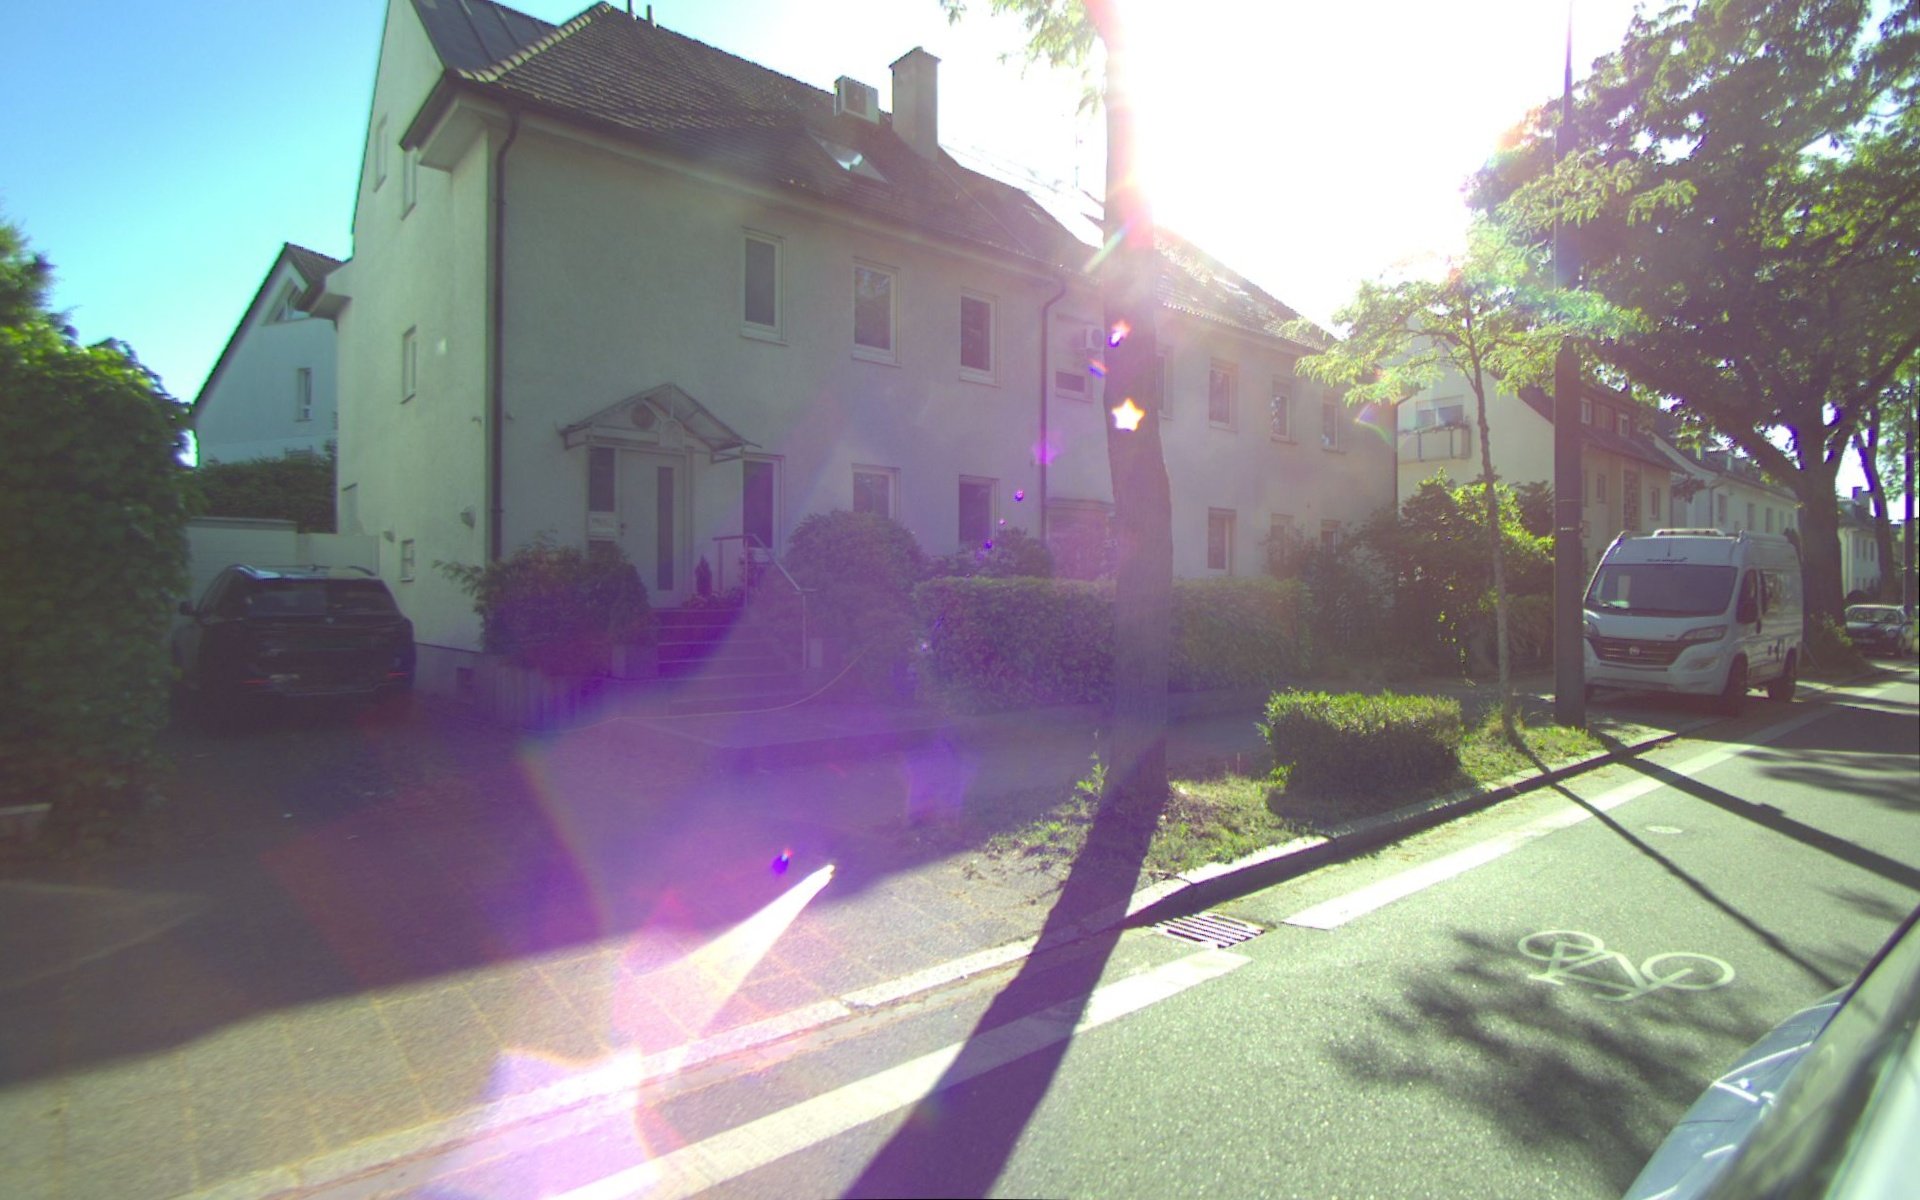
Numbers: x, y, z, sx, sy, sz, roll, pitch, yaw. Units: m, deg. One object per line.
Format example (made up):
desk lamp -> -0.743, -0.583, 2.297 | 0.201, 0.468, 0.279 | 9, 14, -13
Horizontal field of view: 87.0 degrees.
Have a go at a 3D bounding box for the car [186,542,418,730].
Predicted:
car -> -7.503, 0.284, 11.366 | 1.716, 1.726, 3.995 | 0, 1, -40

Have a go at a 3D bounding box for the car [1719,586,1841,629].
car -> 34.014, 0.283, 42.033 | 3.741, 1.507, 1.712 | 5, 3, 44

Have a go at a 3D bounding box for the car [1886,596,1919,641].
car -> 34.303, 0.674, 35.871 | 4.228, 1.466, 1.787 | 0, 3, -43

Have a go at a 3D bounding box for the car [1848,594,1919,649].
car -> 27.109, 0.589, 29.285 | 3.582, 1.415, 1.630 | 0, 3, -41

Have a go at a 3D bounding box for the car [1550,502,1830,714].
car -> 11.324, 0.053, 15.526 | 5.488, 2.687, 2.250 | 0, 2, -41
